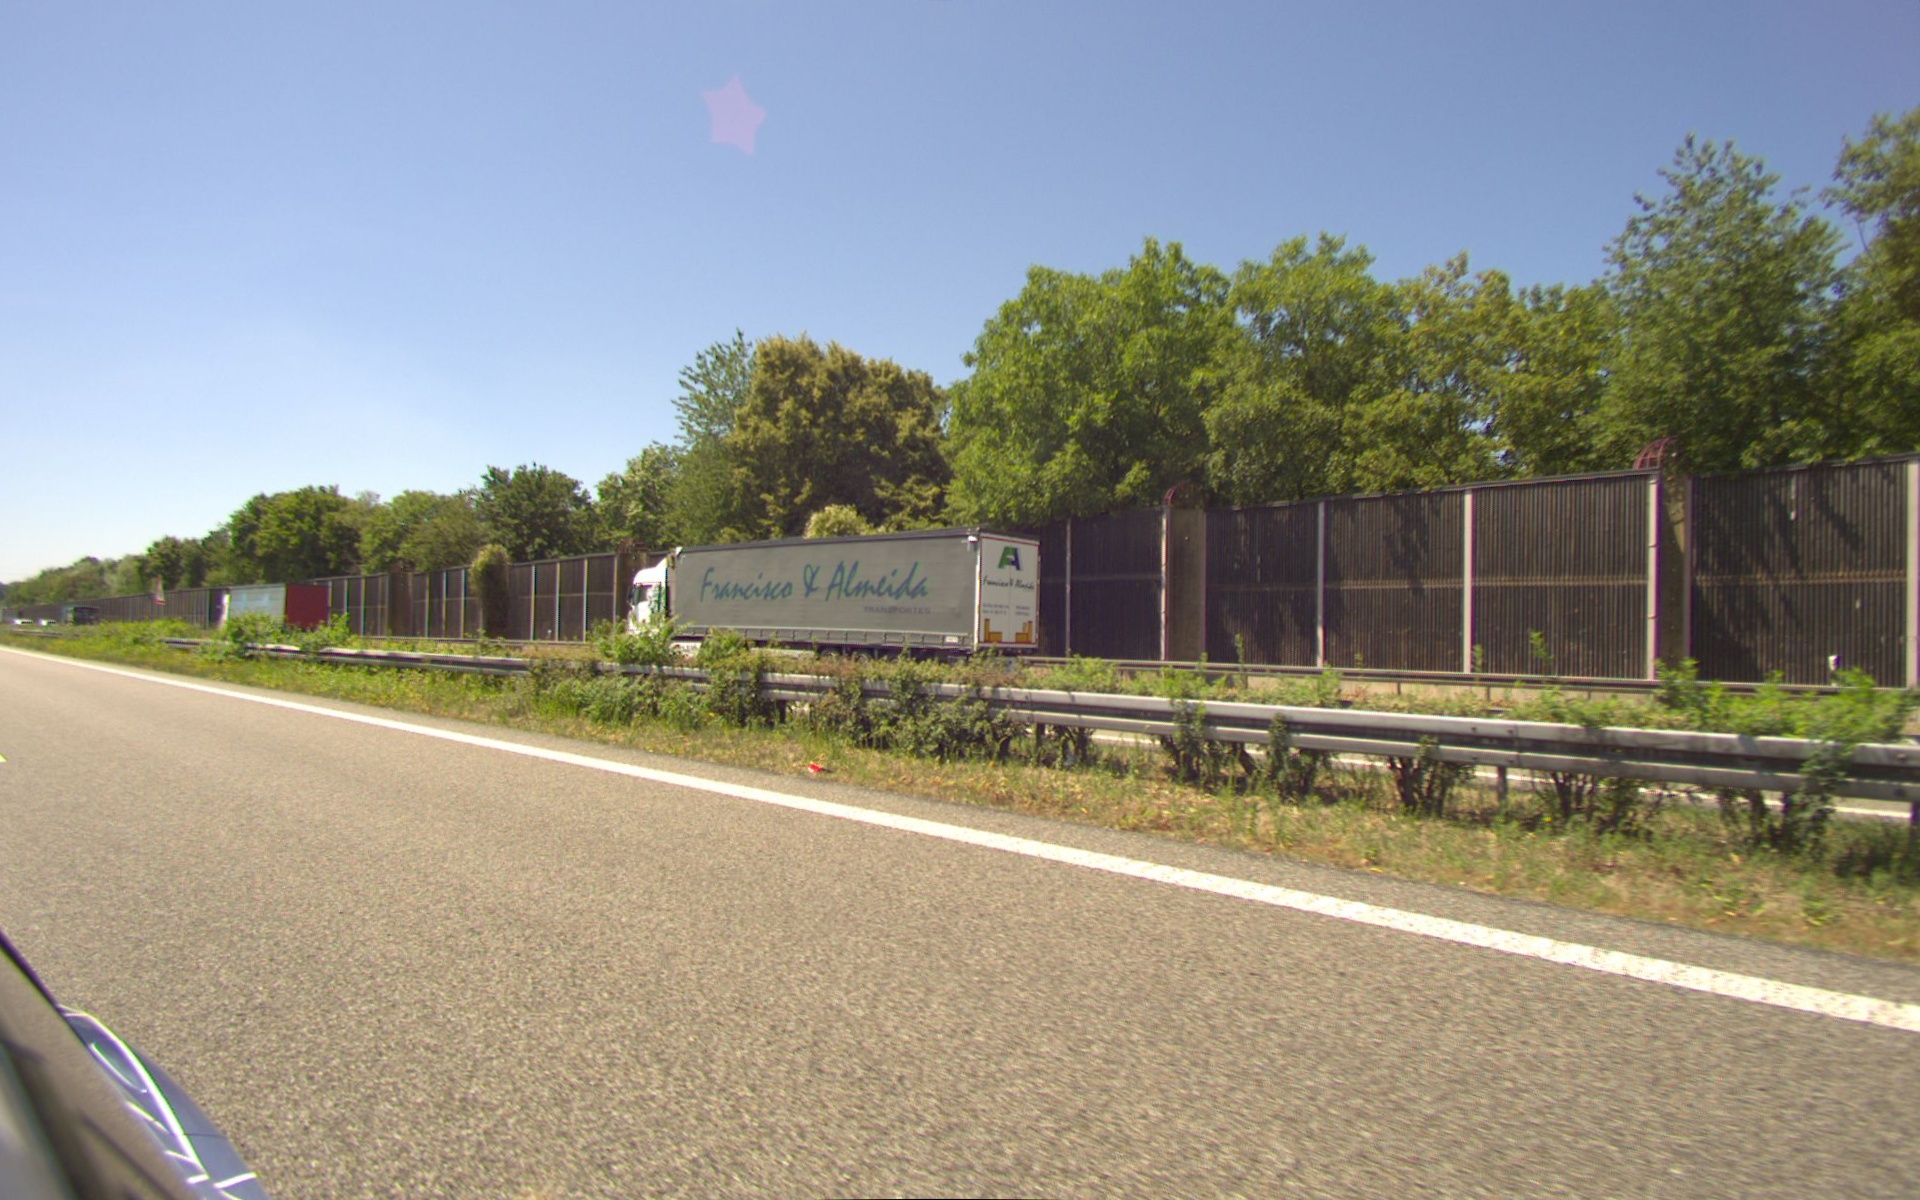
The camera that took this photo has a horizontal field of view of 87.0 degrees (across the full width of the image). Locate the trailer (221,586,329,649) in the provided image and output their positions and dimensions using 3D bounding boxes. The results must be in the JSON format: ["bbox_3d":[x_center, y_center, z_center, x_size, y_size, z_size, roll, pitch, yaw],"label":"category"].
[{"bbox_3d":[-48.241,1.298,70.997,14.299,4.053,2.706,-1,-3,41],"label":"trailer"}]

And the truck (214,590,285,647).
[{"bbox_3d":[-52.507,1.382,74.750,6.731,4.053,2.729,-1,-3,41],"label":"truck"}]

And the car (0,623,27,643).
[{"bbox_3d":[-98.236,3.436,104.733,4.894,2.029,1.972,-1,-1,42],"label":"car"}]

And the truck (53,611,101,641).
[{"bbox_3d":[-116.458,3.462,133.369,12.362,3.703,3.057,-1,-4,41],"label":"truck"}]

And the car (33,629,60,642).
[{"bbox_3d":[-110.763,4.300,122.719,4.491,1.602,1.972,-1,-3,42],"label":"car"}]

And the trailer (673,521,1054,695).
[{"bbox_3d":[-3.466,0.329,29.993,13.305,4.215,2.879,-1,-3,41],"label":"trailer"}]

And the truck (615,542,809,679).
[{"bbox_3d":[-8.563,0.427,34.528,7.139,4.215,2.803,-1,-3,41],"label":"truck"}]
